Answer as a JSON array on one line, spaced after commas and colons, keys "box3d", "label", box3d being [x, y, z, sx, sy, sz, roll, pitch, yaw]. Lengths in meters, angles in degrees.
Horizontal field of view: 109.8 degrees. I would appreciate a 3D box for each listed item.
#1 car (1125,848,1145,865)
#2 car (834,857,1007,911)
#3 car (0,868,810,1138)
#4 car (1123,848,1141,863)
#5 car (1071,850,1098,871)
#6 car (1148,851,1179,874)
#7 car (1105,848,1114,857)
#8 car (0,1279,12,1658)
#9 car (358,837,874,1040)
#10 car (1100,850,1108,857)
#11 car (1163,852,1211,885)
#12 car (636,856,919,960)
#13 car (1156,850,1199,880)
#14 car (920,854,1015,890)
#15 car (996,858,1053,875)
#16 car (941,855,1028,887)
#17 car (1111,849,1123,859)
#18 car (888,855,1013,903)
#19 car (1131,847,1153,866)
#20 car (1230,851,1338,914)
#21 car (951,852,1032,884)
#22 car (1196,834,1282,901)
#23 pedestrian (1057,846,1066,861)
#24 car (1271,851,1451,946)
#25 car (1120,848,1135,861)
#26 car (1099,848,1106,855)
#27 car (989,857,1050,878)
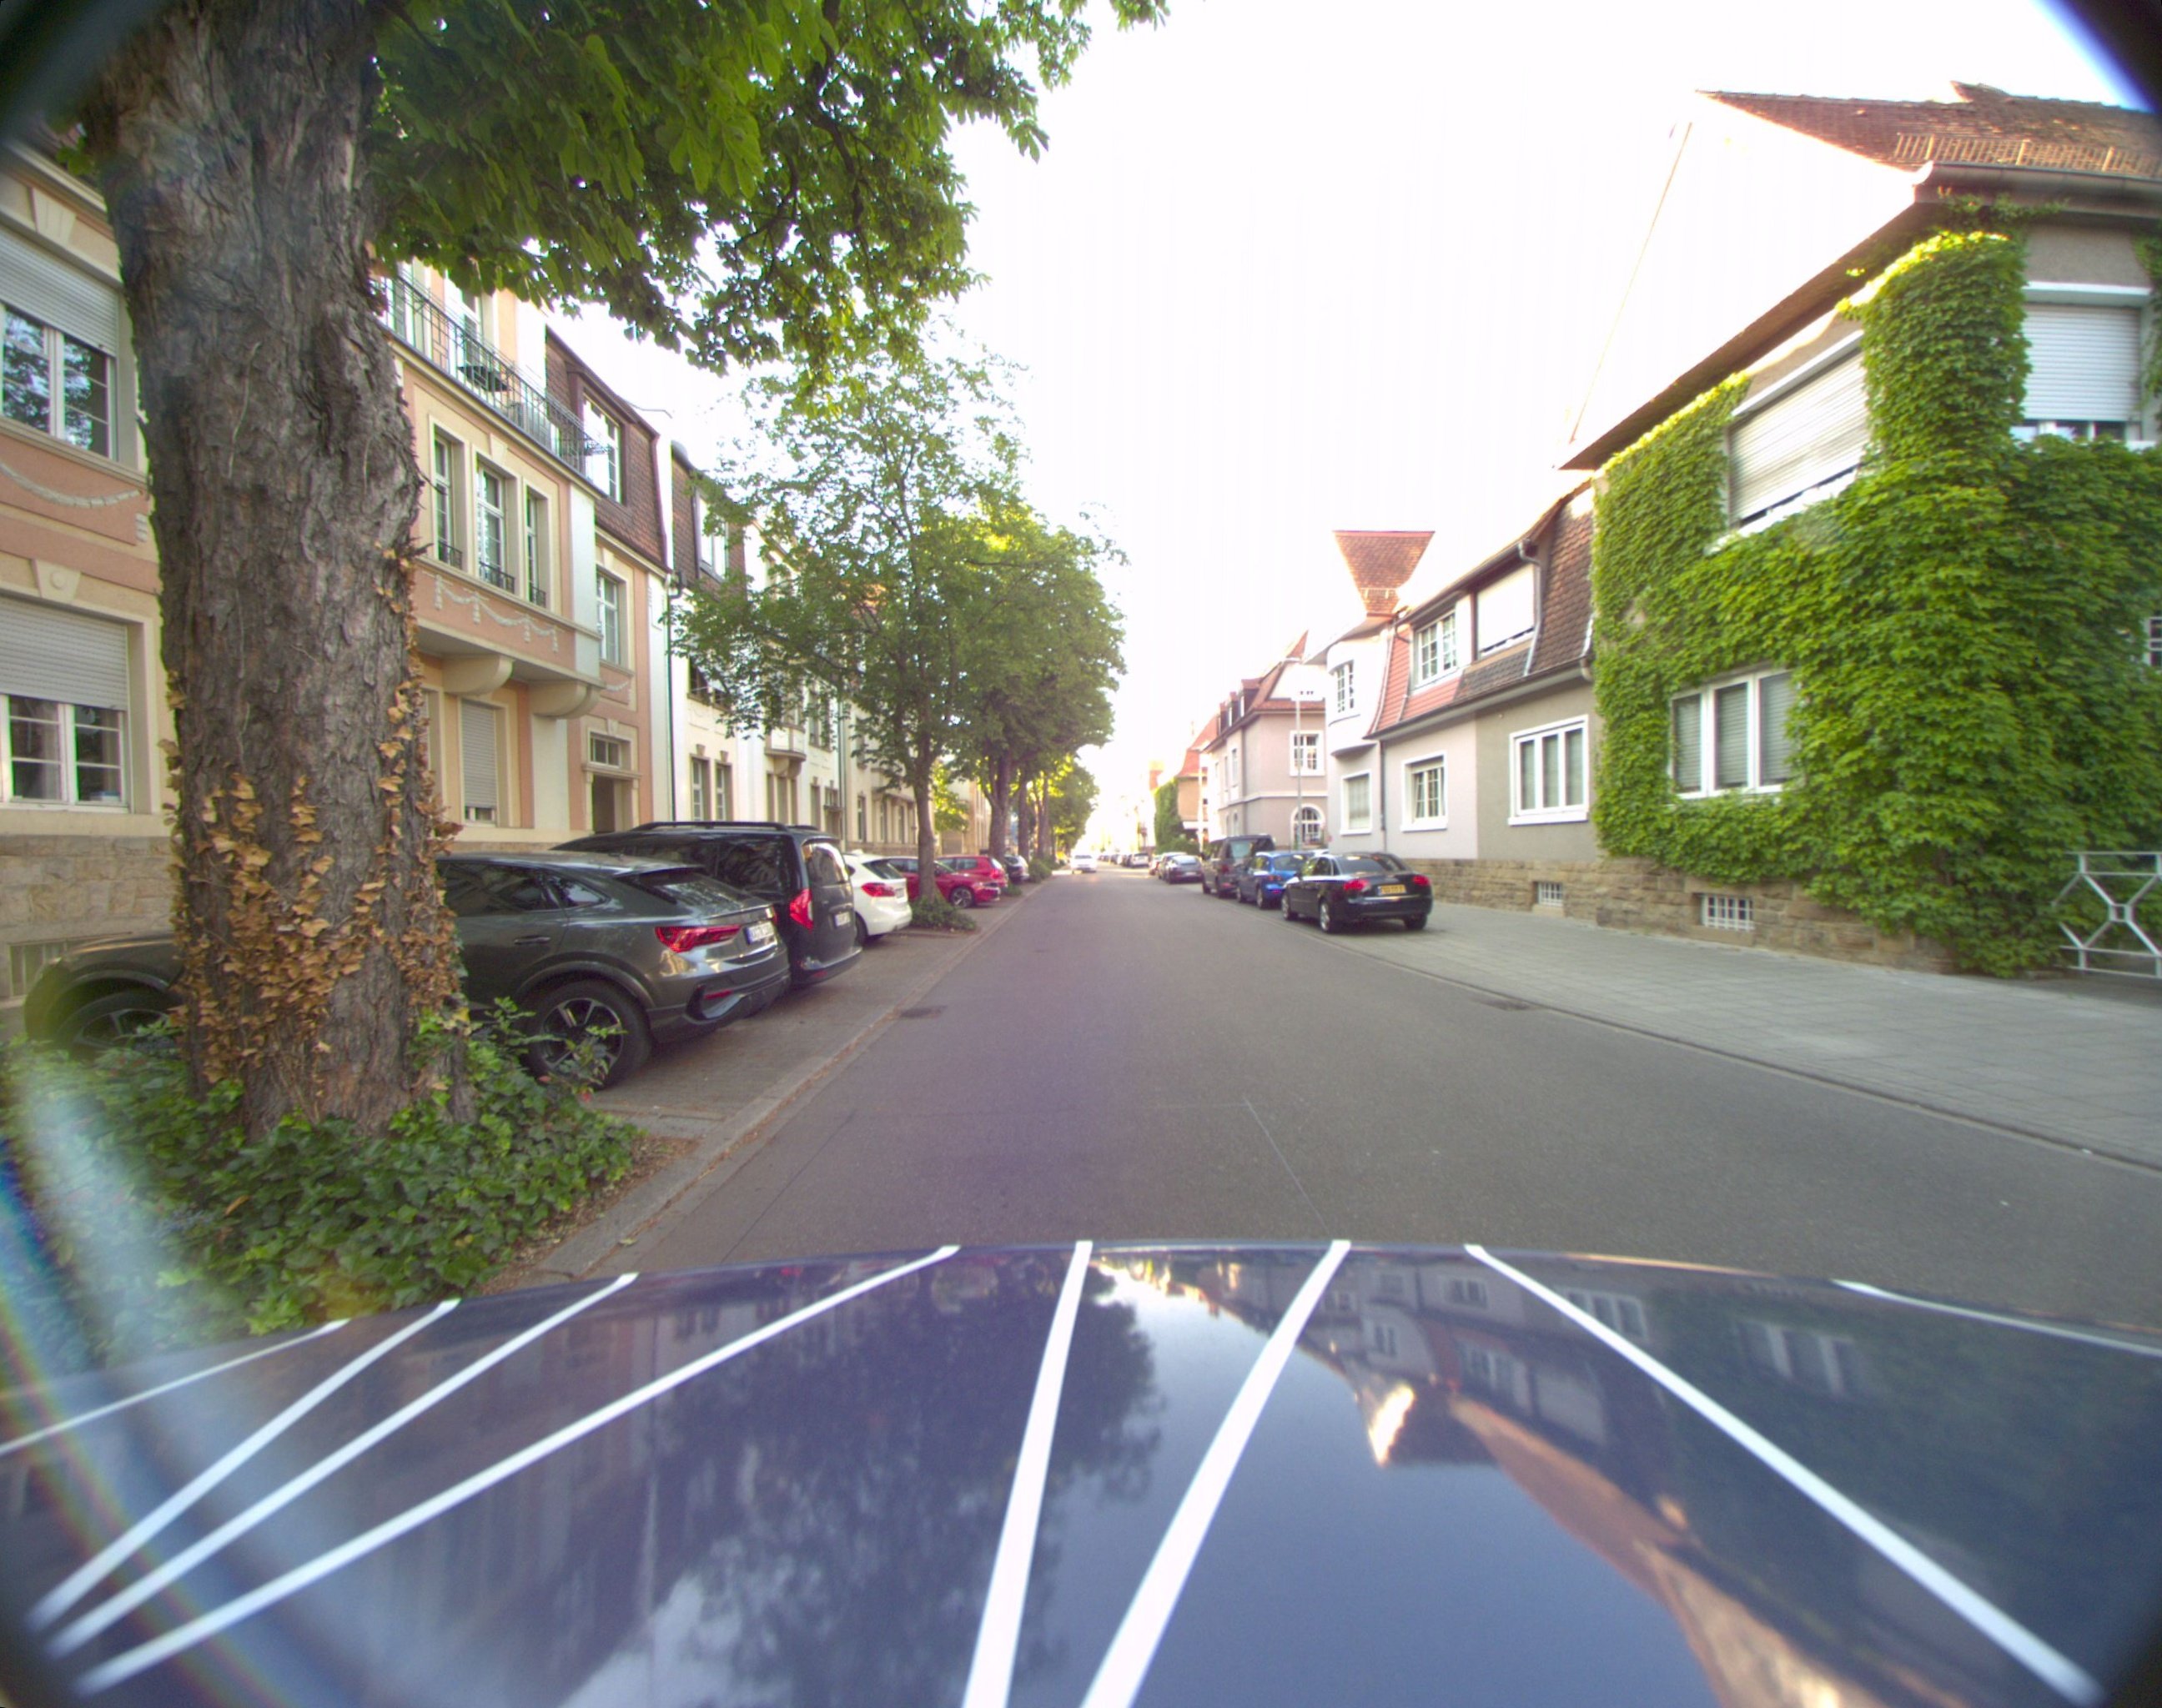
[{"box3d": [5.325, 0.203, 75.246, 1.699, 1.520, 3.677, -3, 0, 2], "label": "car"}, {"box3d": [-4.537, 0.823, 21.910, 4.530, 1.443, 1.868, 0, 1, 3], "label": "car"}, {"box3d": [-4.539, 0.891, 5.466, 4.522, 1.514, 1.844, 0, 1, -4], "label": "car"}, {"box3d": [5.426, 0.150, 80.737, 1.699, 1.520, 3.677, -3, 0, 2], "label": "car"}, {"box3d": [0.287, 0.447, 55.918, 1.819, 1.454, 4.072, -2, 0, 1], "label": "car"}, {"box3d": [5.432, 0.533, 50.357, 1.662, 1.354, 3.677, -3, 0, 2], "label": "car"}, {"box3d": [5.555, -0.319, 149.095, 1.699, 1.520, 3.677, -3, 0, 2], "label": "car"}, {"box3d": [-4.593, 0.773, 0.493, 4.763, 1.864, 1.896, 0, 1, -4], "label": "car"}, {"box3d": [-4.438, 0.748, 7.803, 4.121, 1.827, 1.844, 0, 1, -2], "label": "car"}, {"box3d": [5.263, -0.089, 173.265, 1.699, 1.520, 3.677, -3, 0, 2], "label": "car"}, {"box3d": [5.056, 0.643, 36.640, 1.932, 1.376, 4.063, -3, 0, 4], "label": "car"}, {"box3d": [-4.832, 0.831, 12.503, 3.950, 1.568, 1.719, 0, 1, 0], "label": "car"}, {"box3d": [5.278, 0.558, 42.117, 1.932, 1.458, 4.062, -3, 0, 2], "label": "car"}, {"box3d": [-4.682, 0.743, 31.682, 3.680, 1.457, 1.576, 0, 1, 2], "label": "car"}, {"box3d": [-3.522, 0.773, 47.614, 3.399, 1.057, 1.542, 0, 1, 2], "label": "car"}, {"box3d": [-4.321, 0.750, 34.248, 3.680, 1.390, 1.576, 0, 1, 2], "label": "car"}, {"box3d": [5.535, -0.018, 115.837, 1.699, 1.520, 3.677, -3, 0, 2], "label": "car"}, {"box3d": [-4.142, 0.778, 24.438, 3.680, 1.473, 1.659, 0, 1, 3], "label": "car"}, {"box3d": [5.412, 0.229, 67.981, 1.699, 1.558, 3.677, -3, 0, 2], "label": "car"}, {"box3d": [5.278, 0.678, 20.316, 1.768, 1.438, 4.062, -3, 0, 0], "label": "car"}, {"box3d": [-4.286, 0.662, 36.812, 3.680, 1.548, 1.576, 0, 1, 2], "label": "car"}, {"box3d": [5.142, 0.391, 25.327, 1.842, 1.964, 4.612, -3, 0, 0], "label": "car"}, {"box3d": [-2.542, -0.064, 98.179, 1.119, 1.926, 1.097, -3, 1, -1], "label": "pedestrian"}, {"box3d": [5.127, 0.725, 14.612, 1.806, 1.438, 4.428, -3, 0, 0], "label": "car"}, {"box3d": [5.552, 0.053, 90.984, 1.699, 1.520, 3.677, -3, 0, 2], "label": "car"}, {"box3d": [5.824, -0.683, 202.647, 1.699, 1.520, 3.677, -3, 0, 2], "label": "car"}, {"box3d": [-3.571, 0.776, 44.408, 3.399, 1.143, 1.542, 0, 1, 2], "label": "car"}]
